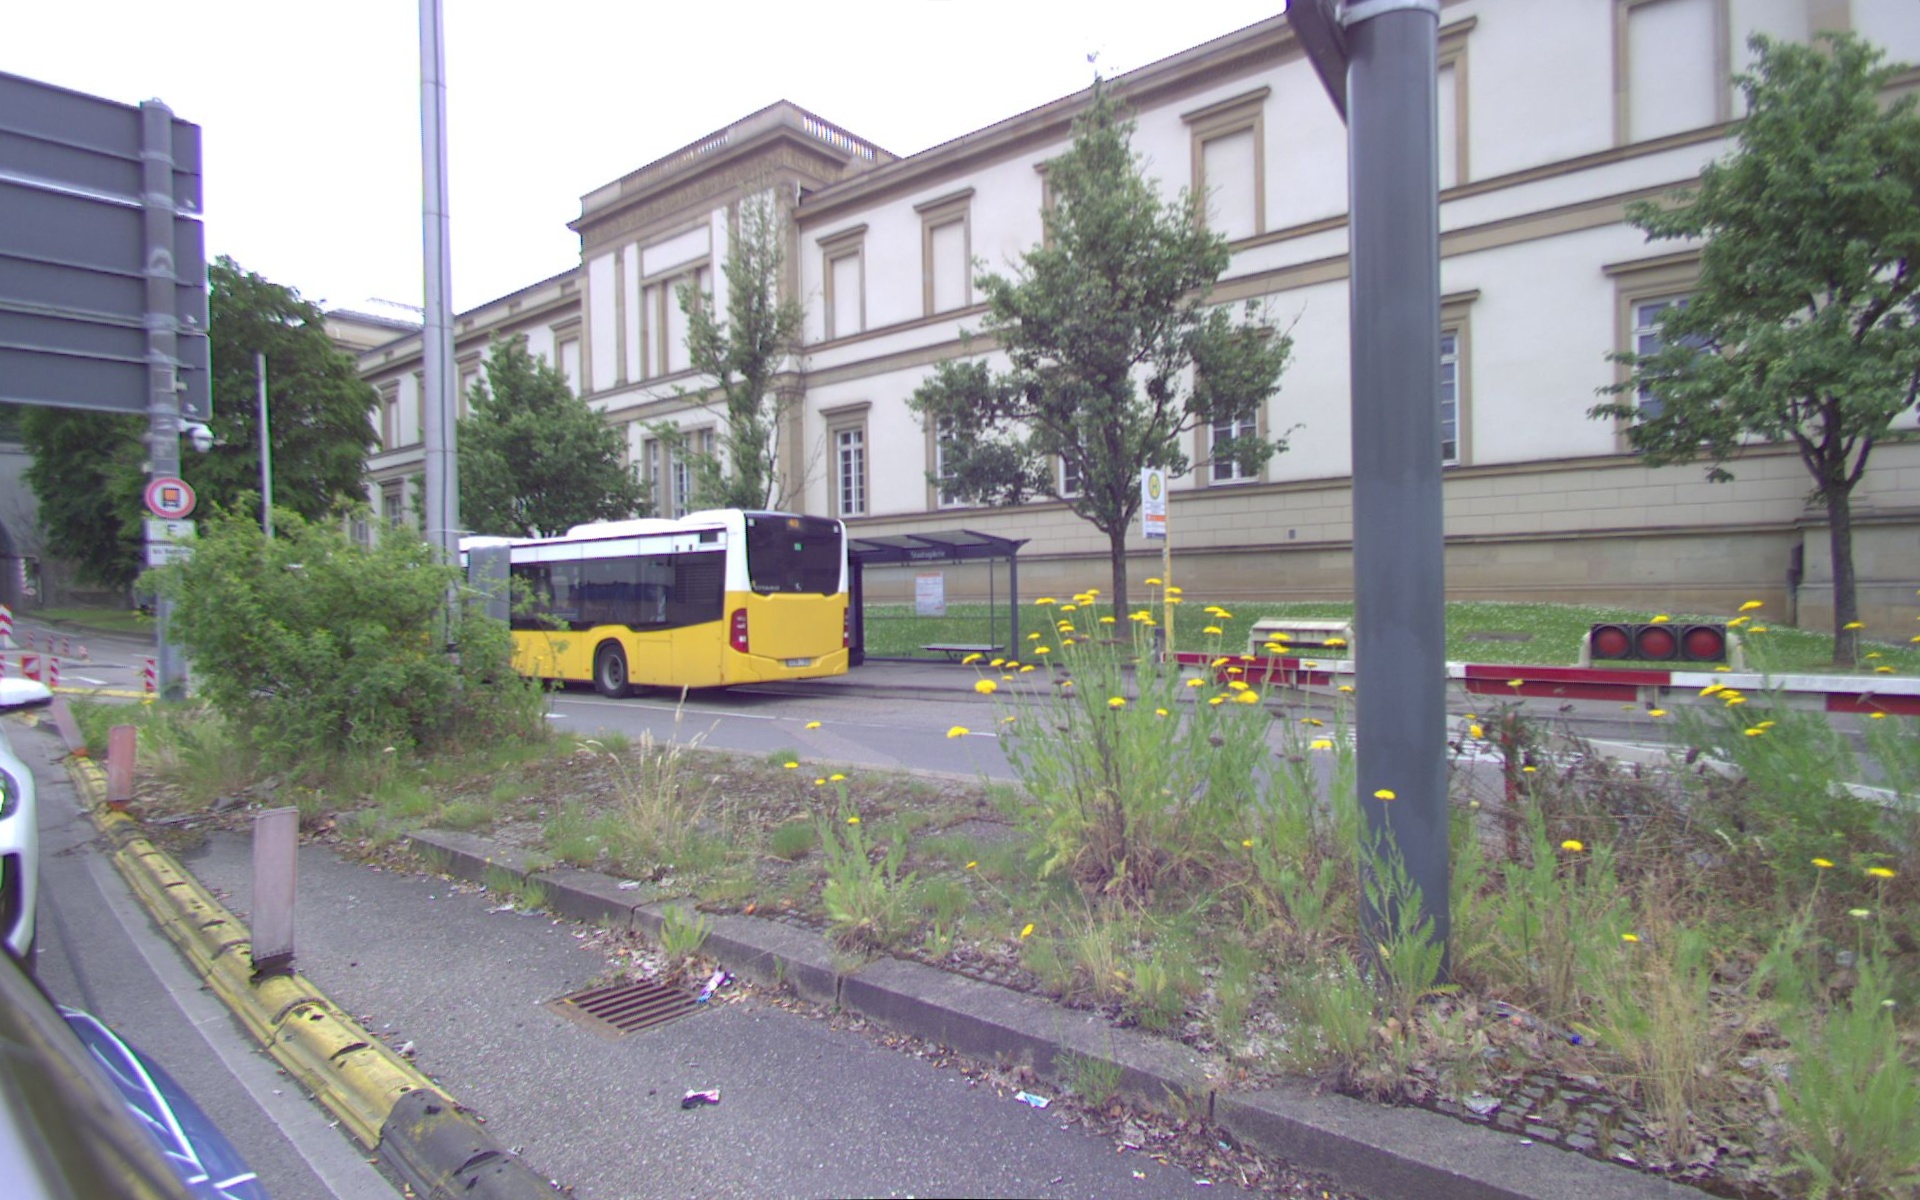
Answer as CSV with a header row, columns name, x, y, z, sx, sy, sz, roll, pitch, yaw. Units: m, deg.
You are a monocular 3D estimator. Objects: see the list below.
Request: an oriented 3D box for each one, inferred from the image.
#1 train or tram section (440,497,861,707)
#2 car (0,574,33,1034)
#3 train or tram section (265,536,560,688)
name,x,y,z,sx,sy,sz,roll,pitch,yaw
train or tram section,-6.142,0.139,18.862,9.323,3.094,2.668,-1,-2,38
car,-5.234,0.721,4.209,3.911,1.568,1.733,-1,0,43
train or tram section,-13.528,0.355,24.559,9.360,3.094,2.669,-1,-2,37
